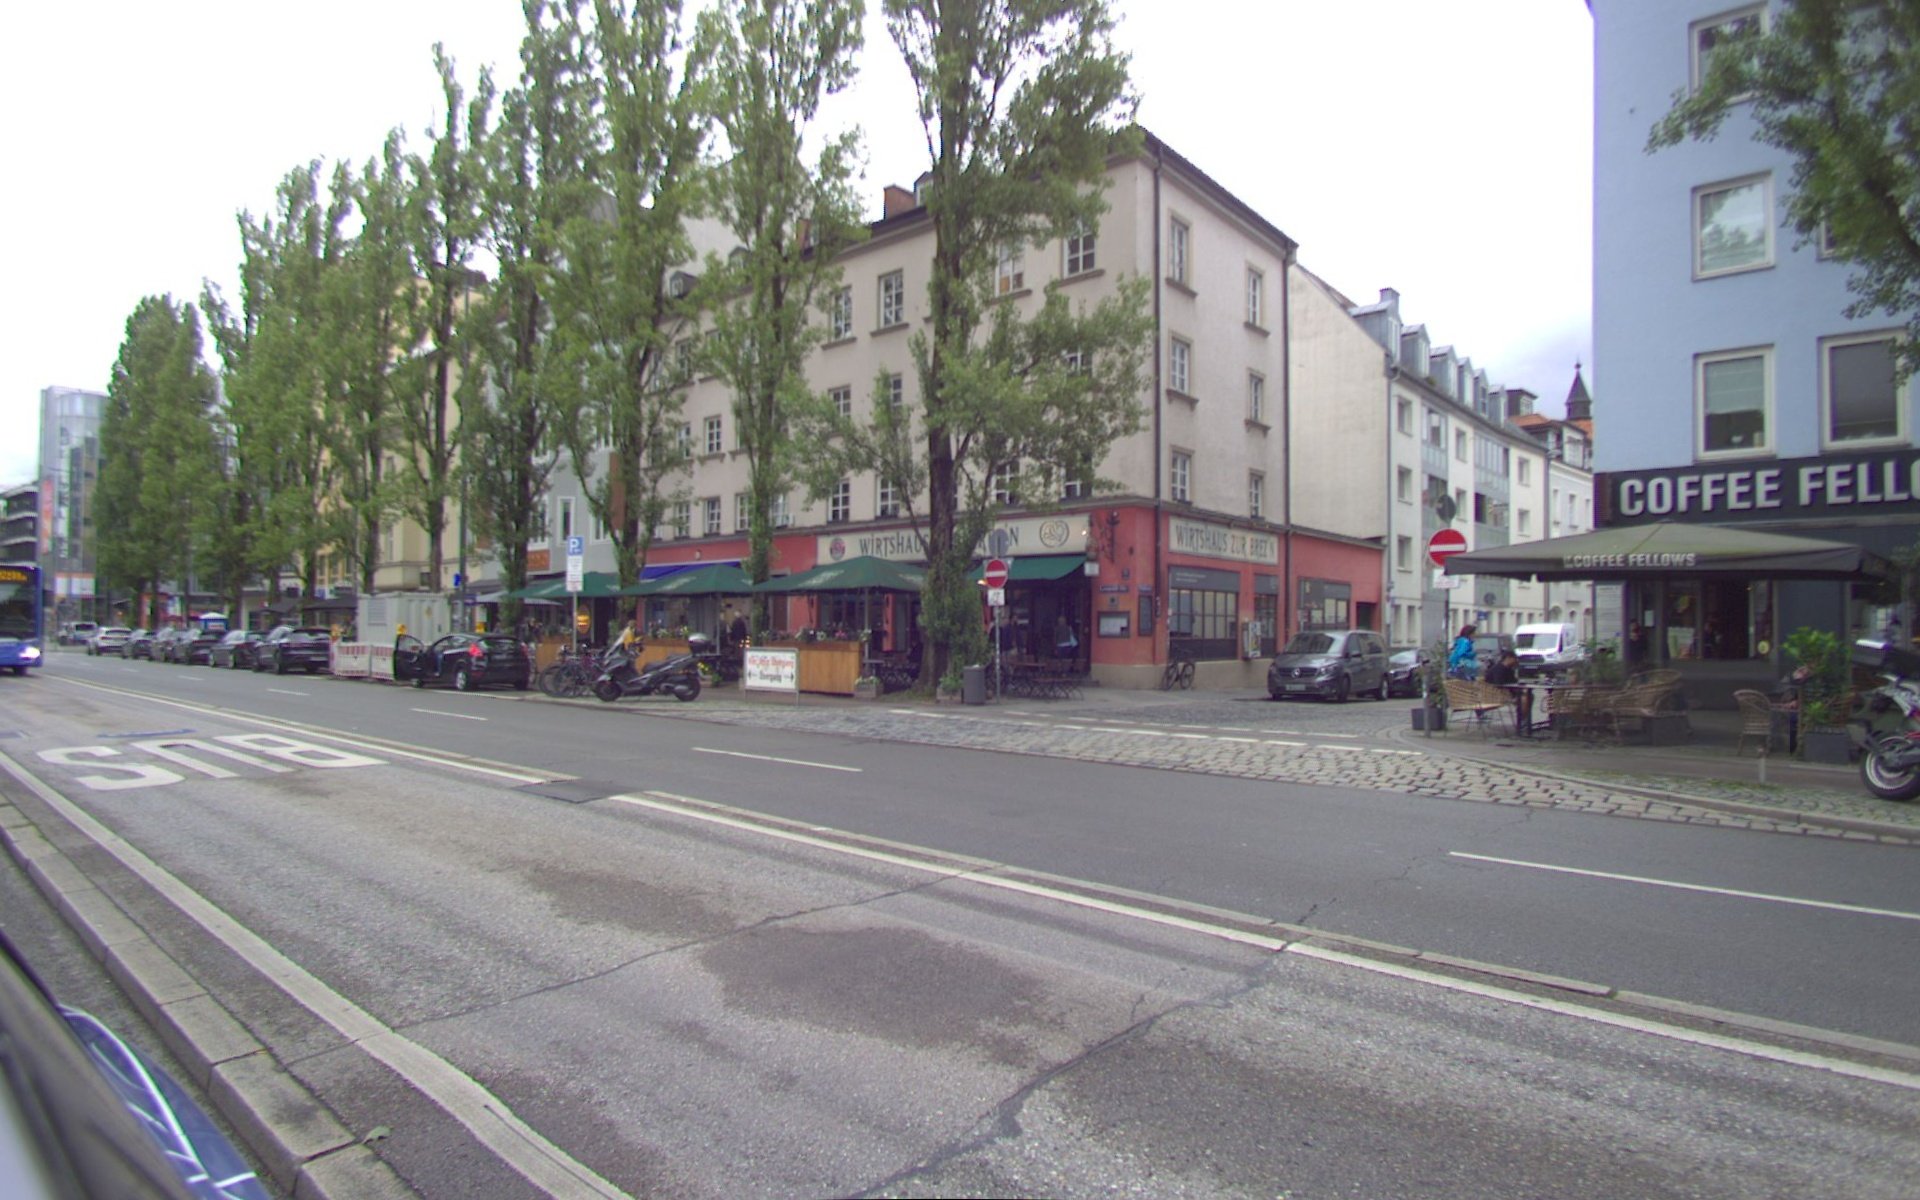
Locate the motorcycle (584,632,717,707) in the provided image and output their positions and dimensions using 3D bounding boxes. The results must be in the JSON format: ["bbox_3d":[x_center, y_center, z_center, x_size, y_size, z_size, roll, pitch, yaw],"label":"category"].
[{"bbox_3d":[-6.104,1.359,20.015,2.426,1.425,0.744,0,-2,8],"label":"motorcycle"}]

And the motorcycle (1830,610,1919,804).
[{"bbox_3d":[8.167,0.858,7.853,0.704,1.575,2.348,-1,-1,-2],"label":"motorcycle"}]

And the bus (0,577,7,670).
[{"bbox_3d":[-35.139,0.818,34.630,10.046,2.972,2.655,-2,-2,41],"label":"bus"}]

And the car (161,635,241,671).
[{"bbox_3d":[-32.160,2.202,42.846,4.572,1.451,1.778,-2,-3,42],"label":"car"}]

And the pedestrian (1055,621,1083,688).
[{"bbox_3d":[2.772,1.368,25.754,0.692,1.659,0.927,0,-2,8],"label":"pedestrian"}]

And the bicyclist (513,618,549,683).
[{"bbox_3d":[-11.579,1.361,27.319,0.816,1.718,0.599,-1,-2,41],"label":"bicyclist"}]

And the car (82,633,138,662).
[{"bbox_3d":[-48.087,2.673,57.230,4.103,1.590,1.778,-2,-3,42],"label":"car"}]

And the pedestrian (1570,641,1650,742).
[{"bbox_3d":[9.189,1.265,14.311,0.819,1.373,0.690,-2,-3,44],"label":"pedestrian"}]

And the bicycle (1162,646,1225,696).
[{"bbox_3d":[6.020,1.787,26.010,0.645,1.214,2.317,-2,-3,39],"label":"bicycle"}]

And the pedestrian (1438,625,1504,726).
[{"bbox_3d":[8.663,1.261,17.192,0.945,1.659,0.694,-1,-3,25],"label":"pedestrian"}]

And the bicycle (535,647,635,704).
[{"bbox_3d":[-7.860,1.579,21.273,1.949,1.134,0.283,-1,0,-12],"label":"bicycle"}]

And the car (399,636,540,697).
[{"bbox_3d":[-12.591,1.656,25.898,3.780,1.433,1.739,-1,-3,38],"label":"car"}]

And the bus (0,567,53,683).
[{"bbox_3d":[-28.475,0.726,28.818,10.046,2.972,2.661,-2,-2,41],"label":"bus"}]

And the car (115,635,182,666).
[{"bbox_3d":[-40.215,2.485,50.123,4.572,1.451,1.778,-2,-3,42],"label":"car"}]

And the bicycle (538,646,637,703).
[{"bbox_3d":[-7.919,1.581,21.551,1.949,1.134,0.283,-1,0,-12],"label":"bicycle"}]

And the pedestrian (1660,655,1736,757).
[{"bbox_3d":[9.168,1.288,12.574,0.699,1.192,0.807,-2,-3,39],"label":"pedestrian"}]

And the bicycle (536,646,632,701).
[{"bbox_3d":[-8.247,1.599,22.233,1.949,1.134,0.343,-1,0,-12],"label":"bicycle"}]

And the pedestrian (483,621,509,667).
[{"bbox_3d":[-19.773,1.877,43.125,0.905,1.941,0.690,-2,-3,44],"label":"pedestrian"}]

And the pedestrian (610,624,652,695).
[{"bbox_3d":[-8.233,1.484,25.346,0.699,1.739,0.723,-2,-3,37],"label":"pedestrian"}]

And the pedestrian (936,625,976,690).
[{"bbox_3d":[-0.106,1.453,25.751,0.732,1.636,0.690,-2,-3,44],"label":"pedestrian"}]

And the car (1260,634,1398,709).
[{"bbox_3d":[9.730,1.841,26.507,1.982,1.780,4.525,-2,-4,40],"label":"car"}]

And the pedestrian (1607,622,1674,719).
[{"bbox_3d":[12.872,1.316,19.183,0.692,1.786,0.947,0,-2,10],"label":"pedestrian"}]

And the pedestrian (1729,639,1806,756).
[{"bbox_3d":[9.982,1.177,12.513,0.699,1.373,0.706,-2,-3,39],"label":"pedestrian"}]

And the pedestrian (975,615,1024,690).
[{"bbox_3d":[0.948,1.248,24.132,0.950,1.735,0.690,-2,-3,44],"label":"pedestrian"}]

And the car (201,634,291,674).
[{"bbox_3d":[-27.205,2.026,38.524,4.572,1.451,1.778,-2,-3,42],"label":"car"}]

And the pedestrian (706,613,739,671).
[{"bbox_3d":[-8.049,1.411,34.289,0.905,1.941,0.690,-2,-3,44],"label":"pedestrian"}]

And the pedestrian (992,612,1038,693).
[{"bbox_3d":[1.343,1.269,24.772,0.905,1.941,0.690,-2,-3,44],"label":"pedestrian"}]

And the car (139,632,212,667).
[{"bbox_3d":[-36.076,2.263,46.493,4.572,1.515,1.778,-2,-3,42],"label":"car"}]

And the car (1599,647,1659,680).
[{"bbox_3d":[37.969,3.614,57.395,1.984,1.780,4.519,-2,-4,45],"label":"car"}]

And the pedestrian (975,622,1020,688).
[{"bbox_3d":[0.968,1.410,26.122,0.689,1.659,0.930,2,-3,-44],"label":"pedestrian"}]

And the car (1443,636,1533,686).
[{"bbox_3d":[20.136,2.316,38.497,2.116,1.780,4.525,-2,-4,40],"label":"car"}]

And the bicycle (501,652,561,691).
[{"bbox_3d":[-11.601,1.924,27.314,2.173,0.976,0.605,-2,-2,42],"label":"bicycle"}]

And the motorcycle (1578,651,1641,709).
[{"bbox_3d":[14.713,1.783,22.884,0.738,1.213,2.729,-4,-5,42],"label":"motorcycle"}]

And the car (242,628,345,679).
[{"bbox_3d":[-22.813,1.802,34.569,4.572,1.625,1.778,-2,-3,42],"label":"car"}]

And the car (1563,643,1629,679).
[{"bbox_3d":[33.541,3.227,53.326,1.984,1.780,4.519,-2,-4,45],"label":"car"}]

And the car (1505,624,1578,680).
[{"bbox_3d":[26.349,2.355,45.780,1.982,2.384,4.523,-2,-4,42],"label":"car"}]

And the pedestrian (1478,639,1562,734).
[{"bbox_3d":[8.449,1.283,15.278,0.950,1.373,0.690,-2,-3,44],"label":"pedestrian"}]

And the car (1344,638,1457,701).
[{"bbox_3d":[13.562,2.105,31.033,1.982,1.780,4.525,-2,-4,40],"label":"car"}]

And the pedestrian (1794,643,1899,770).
[{"bbox_3d":[10.033,1.173,11.489,0.847,1.373,0.690,-2,-3,40],"label":"pedestrian"}]

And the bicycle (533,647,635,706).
[{"bbox_3d":[-7.765,1.570,20.944,1.949,1.134,0.362,-1,0,-12],"label":"bicycle"}]
